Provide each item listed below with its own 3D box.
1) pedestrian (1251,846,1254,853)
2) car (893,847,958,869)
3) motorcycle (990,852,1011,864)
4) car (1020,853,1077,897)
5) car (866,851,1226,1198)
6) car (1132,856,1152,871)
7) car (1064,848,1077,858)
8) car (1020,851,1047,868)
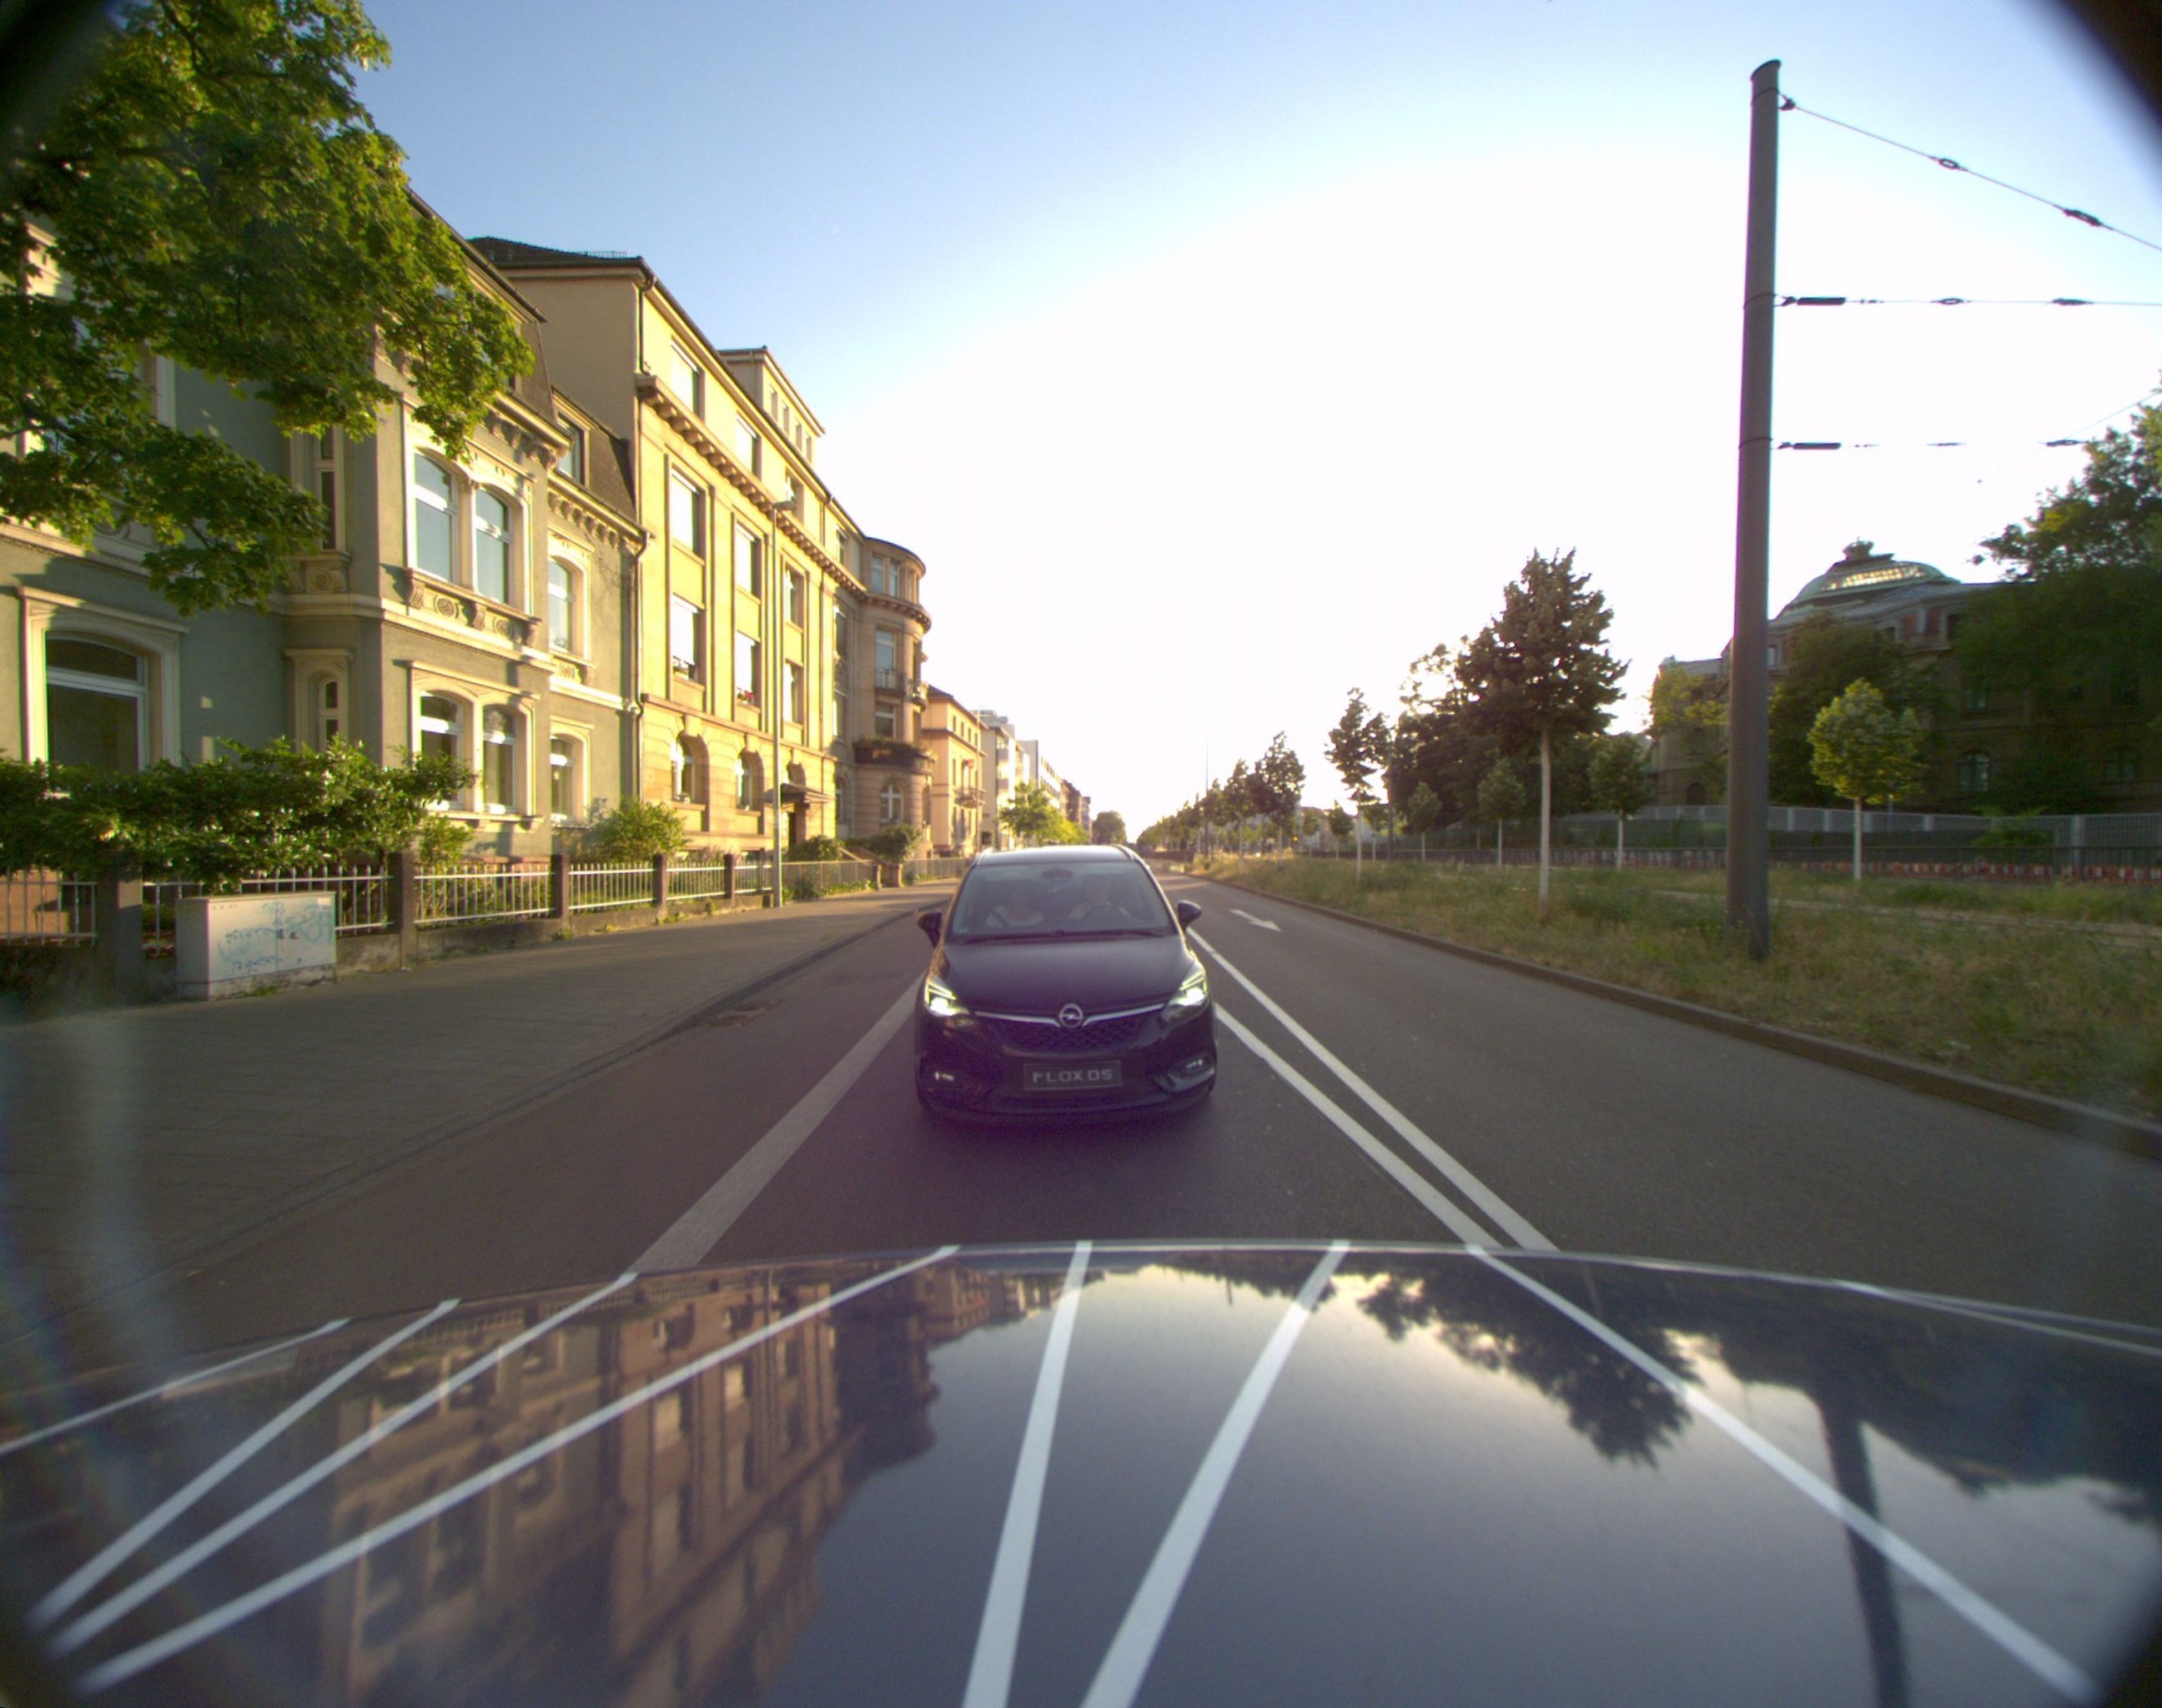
[{"bbox_3d":[43.375,-1.105,191.902,0.646,1.702,0.838,0,1,10],"label":"pedestrian"},{"bbox_3d":[-11.013,0.247,53.940,4.096,1.472,1.938,-1,1,3],"label":"car"},{"bbox_3d":[-7.465,0.370,70.268,1.848,1.090,0.576,-1,1,8],"label":"motorcycle"},{"bbox_3d":[-1.111,0.730,27.765,1.859,1.425,4.842,-2,-1,-1],"label":"car"},{"bbox_3d":[-0.296,0.834,6.209,1.771,1.649,4.850,-1,1,-3],"label":"car"},{"bbox_3d":[6.053,0.950,75.679,1.859,1.425,4.844,-2,-1,4],"label":"car"},{"bbox_3d":[-1.603,-0.179,121.562,1.937,1.472,4.100,-1,0,1],"label":"car"},{"bbox_3d":[-3.854,0.437,62.867,1.882,1.394,4.100,-1,0,1],"label":"car"}]
